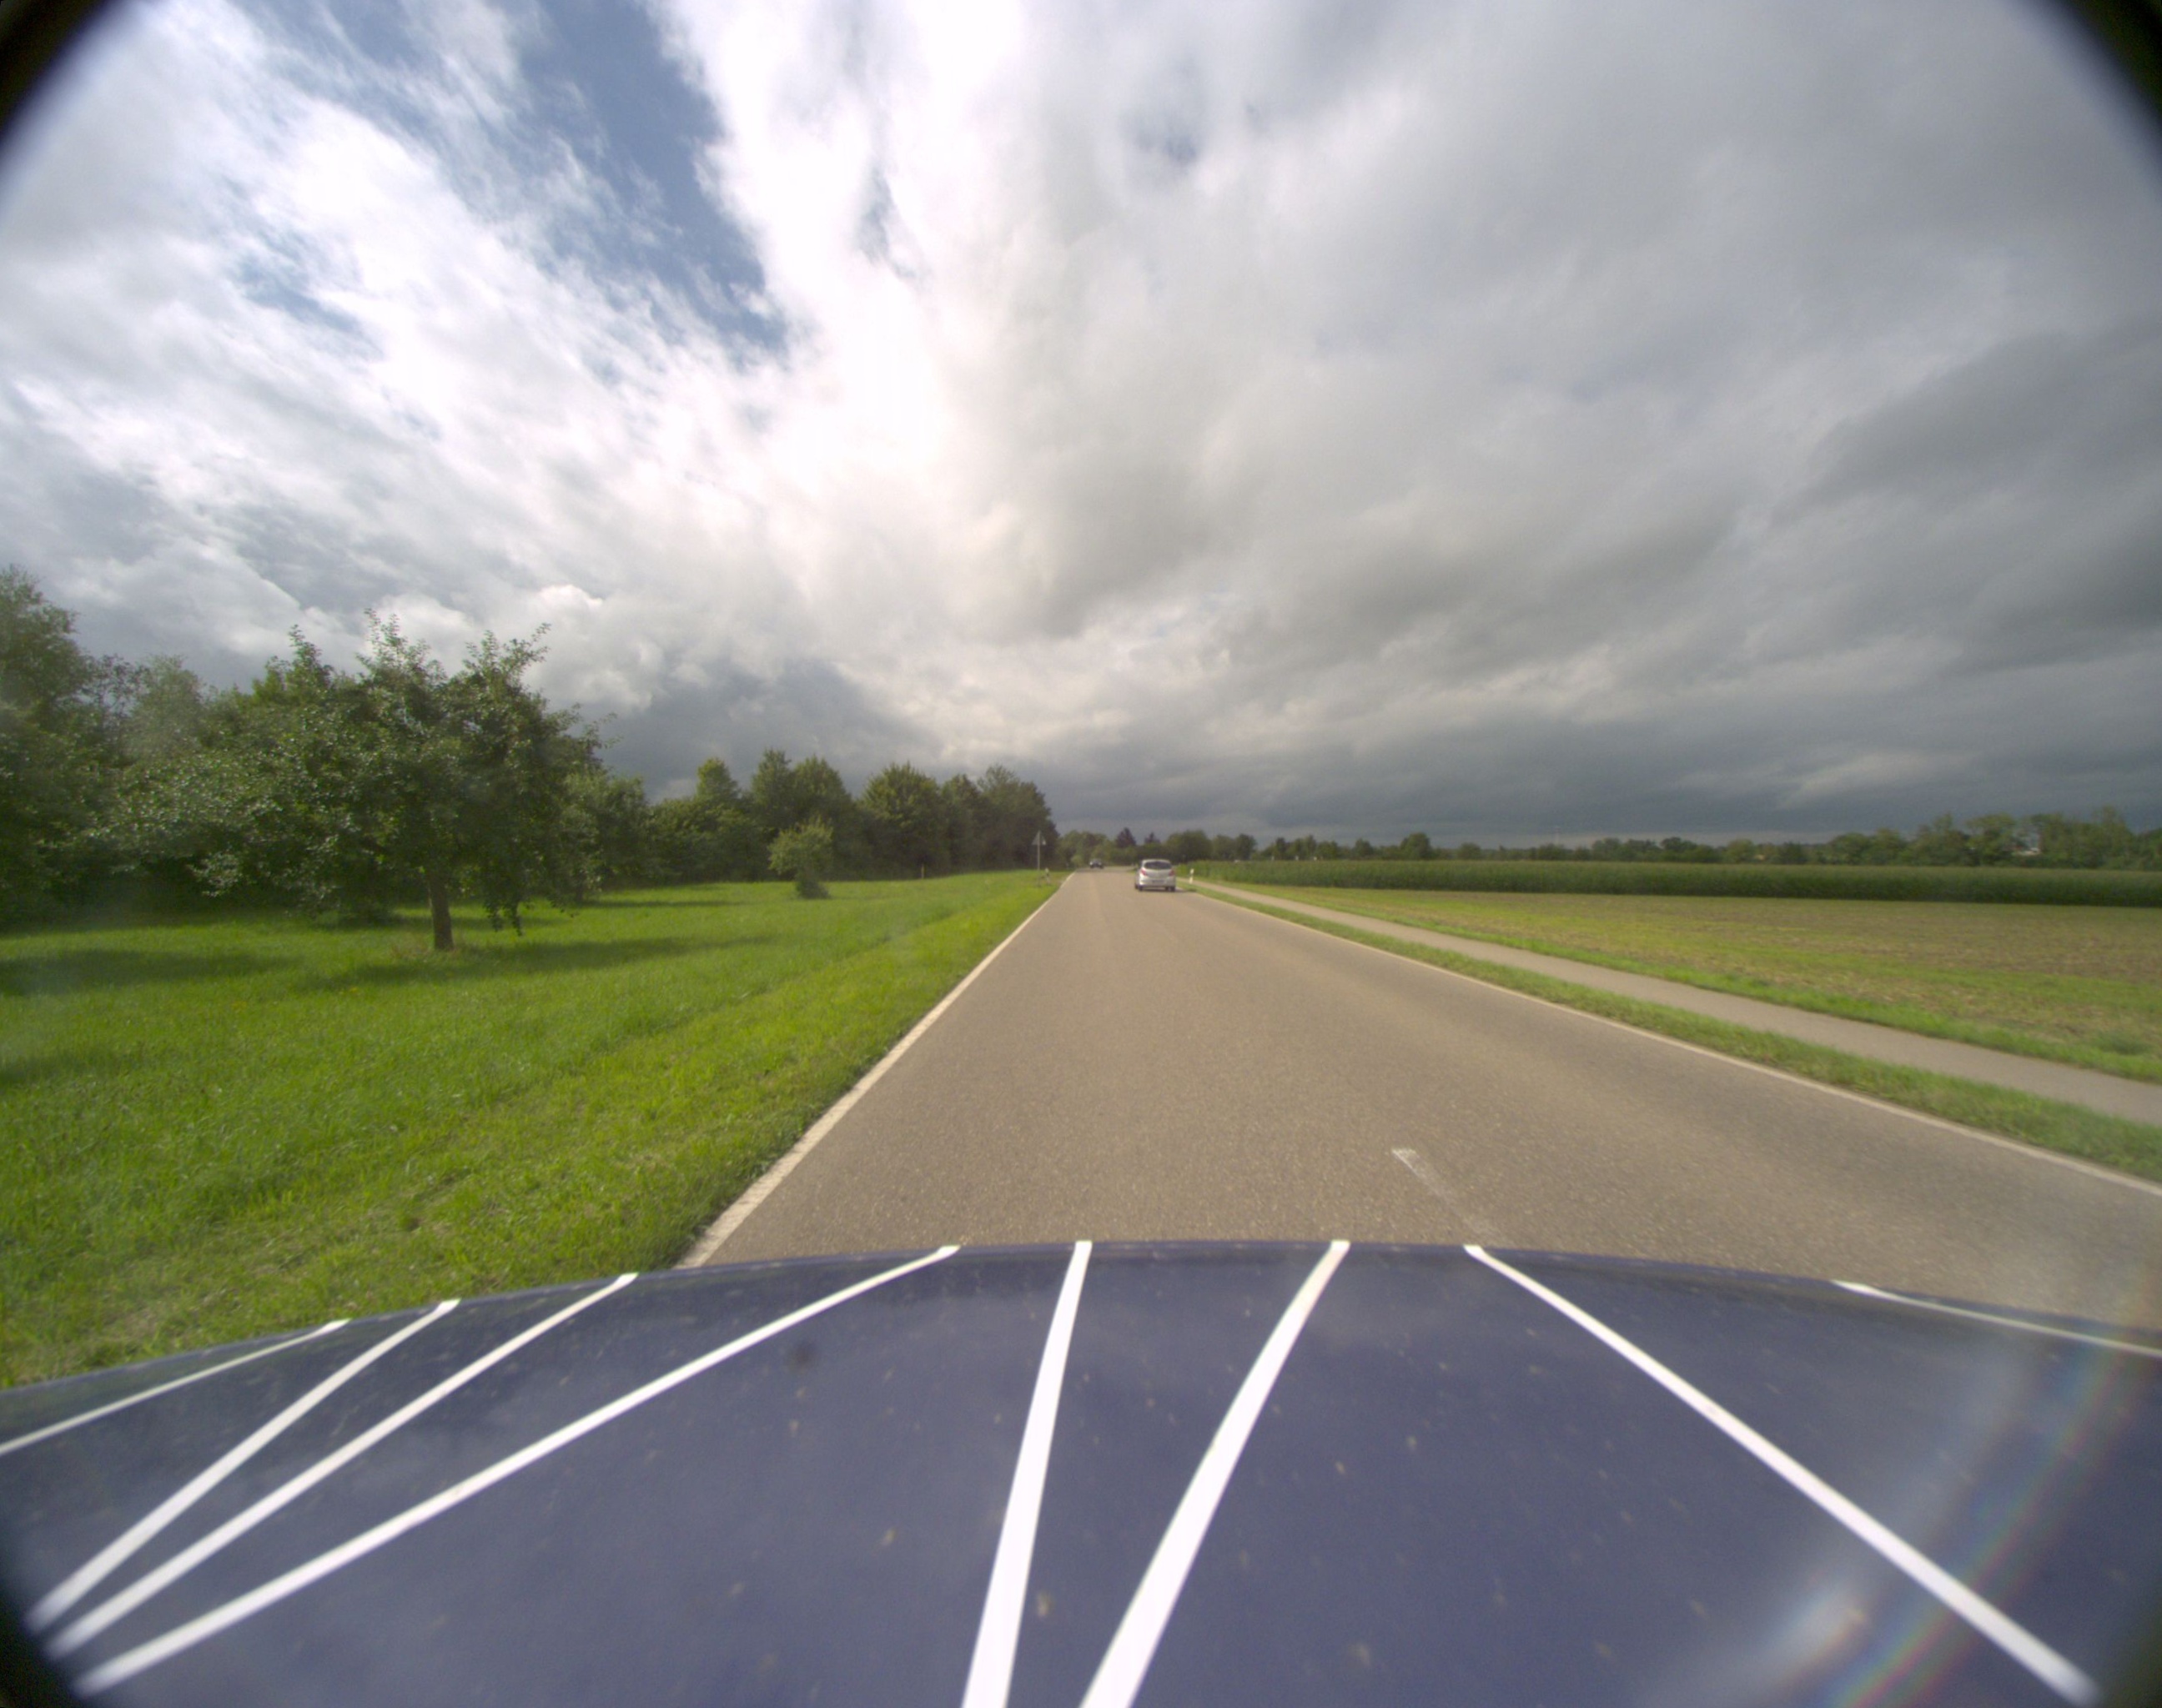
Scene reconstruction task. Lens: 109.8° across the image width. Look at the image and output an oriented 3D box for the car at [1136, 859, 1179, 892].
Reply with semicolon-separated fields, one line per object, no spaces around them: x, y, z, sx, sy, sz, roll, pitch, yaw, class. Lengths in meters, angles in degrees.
3.573;0.983;35.924;1.699;1.450;3.543;0;0;1;car
